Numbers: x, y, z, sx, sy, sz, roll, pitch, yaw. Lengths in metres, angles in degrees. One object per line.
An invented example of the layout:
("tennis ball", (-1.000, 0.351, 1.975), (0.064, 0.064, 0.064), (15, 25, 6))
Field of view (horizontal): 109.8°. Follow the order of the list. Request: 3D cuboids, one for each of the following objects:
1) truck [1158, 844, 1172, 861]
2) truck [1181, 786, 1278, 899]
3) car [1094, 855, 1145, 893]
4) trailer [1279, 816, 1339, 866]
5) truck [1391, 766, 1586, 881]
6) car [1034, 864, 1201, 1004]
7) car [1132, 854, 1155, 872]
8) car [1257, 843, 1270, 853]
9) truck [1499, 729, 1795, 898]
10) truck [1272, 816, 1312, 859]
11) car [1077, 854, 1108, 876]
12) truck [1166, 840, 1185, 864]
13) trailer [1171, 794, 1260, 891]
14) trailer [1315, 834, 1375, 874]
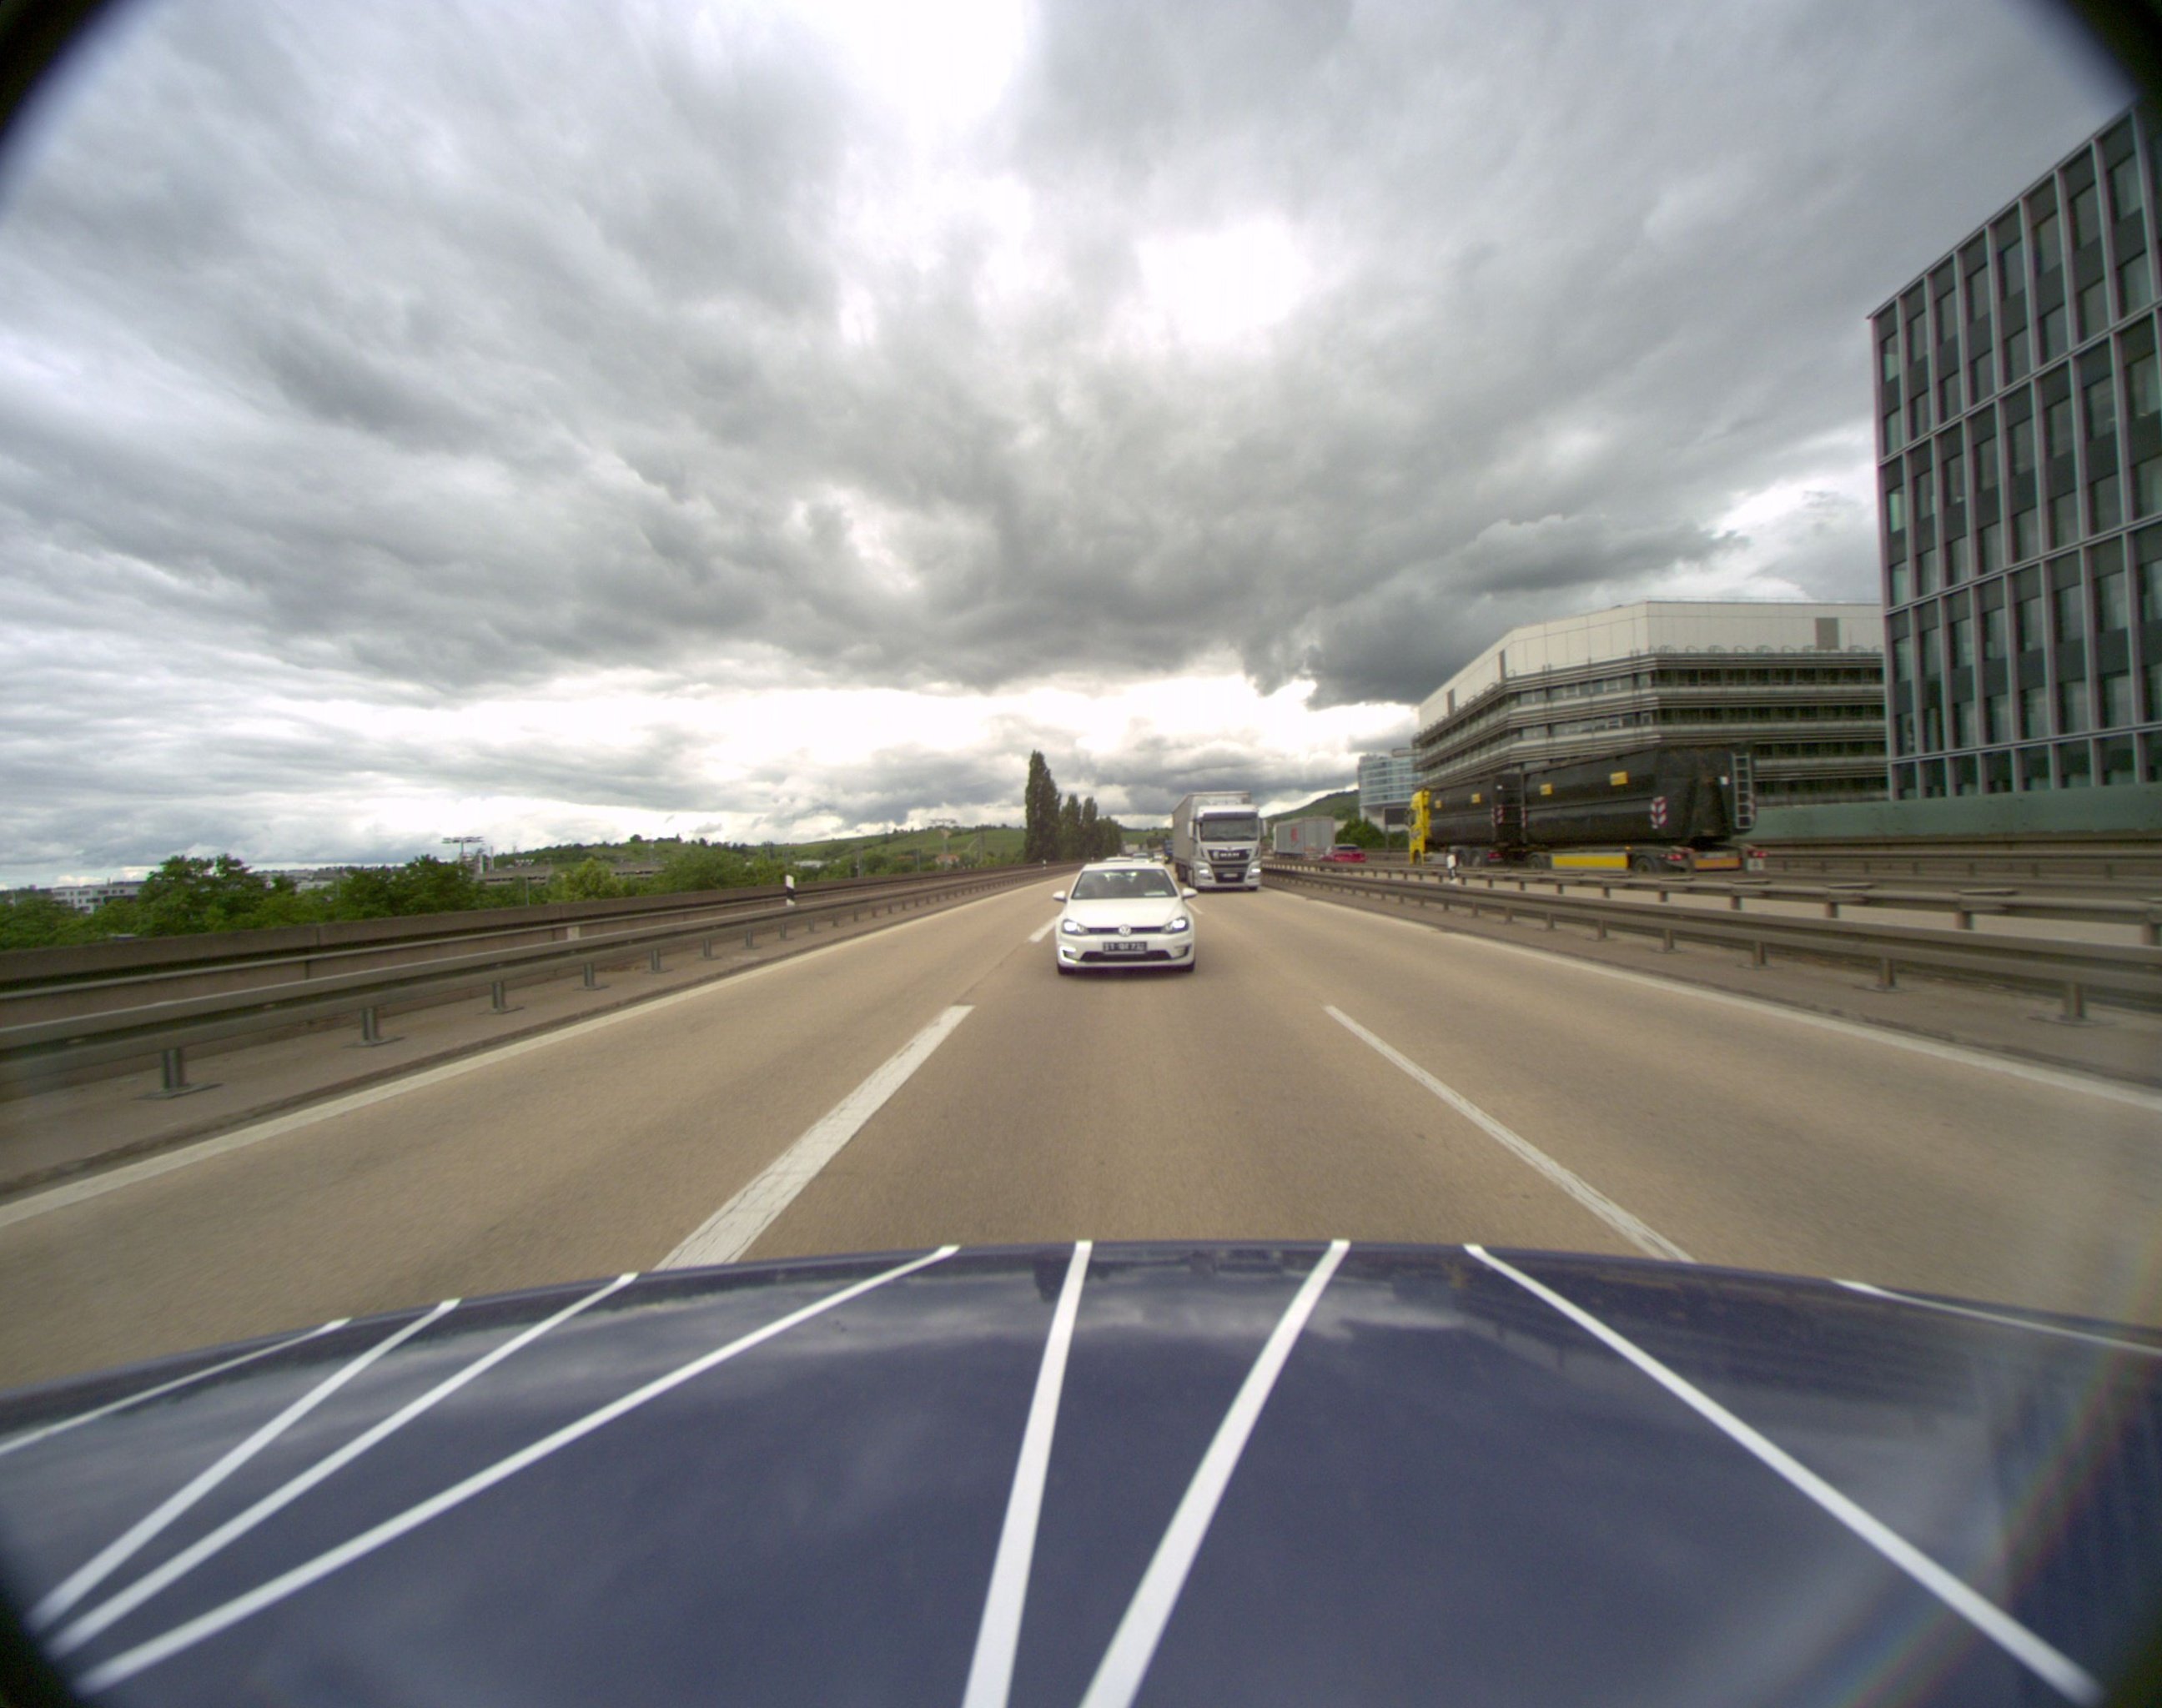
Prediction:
("truck", (17.087, -0.334, 154.692), (2.335, 3.219, 6.690), (-2, 1, 9))
("truck", (5.841, -0.453, 30.857), (3.141, 4.014, 5.690), (-3, 1, 5))
("car", (1.877, 0.900, 35.813), (1.929, 1.499, 4.063), (-3, 1, 8))
("trailer", (19.932, -1.166, 67.115), (2.850, 3.964, 11.888), (-2, 1, 6))
("truck", (17.104, -1.171, 33.310), (3.063, 4.042, 11.860), (-2, 1, 5))
("car", (0.662, 0.983, 10.974), (1.929, 1.499, 4.063), (-2, 1, 7))
("car", (6.138, 0.838, 73.979), (1.929, 1.585, 4.063), (-3, 1, 8))
("car", (32.585, -1.032, 135.746), (1.686, 1.641, 4.362), (-3, 1, 9))
("truck", (16.241, -1.022, 22.953), (3.063, 4.042, 8.665), (-2, 1, 5))
("truck", (20.744, -1.587, 74.989), (2.778, 4.055, 5.648), (-2, 0, 6))
("car", (0.932, 0.832, 58.416), (1.930, 1.499, 4.062), (-3, 1, 6))
("truck", (13.479, -0.288, 108.074), (2.335, 3.219, 6.690), (-2, 1, 9))
("trailer", (6.507, -0.533, 38.690), (3.188, 4.003, 11.768), (-3, 0, 5))
("trailer", (13.956, -0.006, 40.386), (1.998, 2.002, 4.001), (-2, 0, 4))
